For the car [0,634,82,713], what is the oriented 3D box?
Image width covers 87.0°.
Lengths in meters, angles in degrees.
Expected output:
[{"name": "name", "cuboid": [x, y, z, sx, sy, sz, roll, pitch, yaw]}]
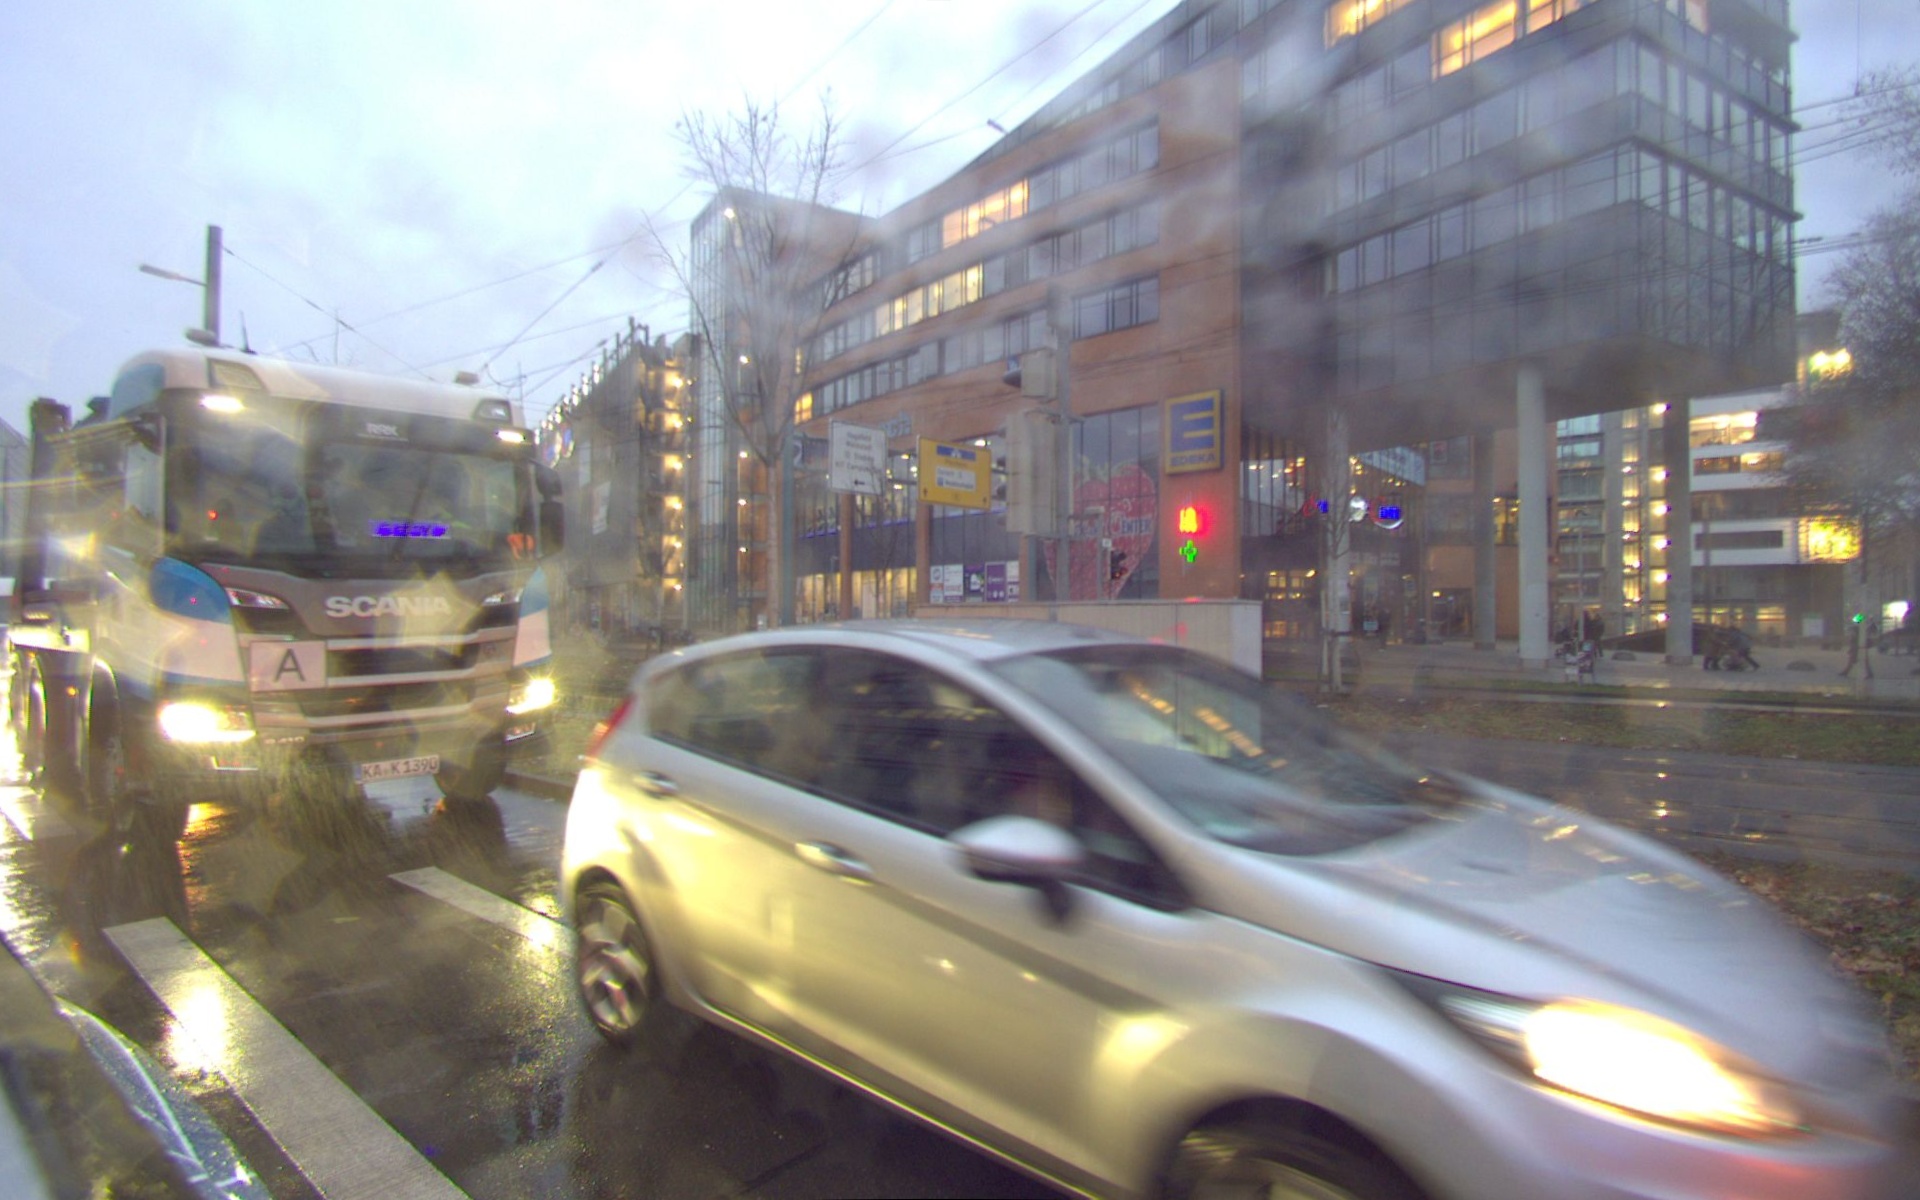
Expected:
[{"name": "car", "cuboid": [-18.104, 1.343, 19.246, 4.057, 1.355, 1.735, -1, -2, 43]}]

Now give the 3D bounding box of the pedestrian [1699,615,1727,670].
[{"name": "pedestrian", "cuboid": [25.193, 1.415, 33.859, 0.564, 1.787, 0.638, 2, -2, -43]}]

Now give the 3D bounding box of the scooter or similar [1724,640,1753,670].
[{"name": "scooter or similar", "cuboid": [25.640, 1.802, 33.350, 0.545, 0.968, 0.667, 2, -2, -43]}]

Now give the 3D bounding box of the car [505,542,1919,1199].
[{"name": "car", "cuboid": [0.323, 0.711, 3.074, 4.000, 1.459, 1.687, -2, -2, 43]}]

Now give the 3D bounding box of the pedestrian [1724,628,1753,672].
[{"name": "pedestrian", "cuboid": [26.230, 1.673, 34.089, 0.564, 1.470, 0.685, 2, -2, -43]}]

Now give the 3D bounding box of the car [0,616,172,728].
[{"name": "car", "cuboid": [-13.738, 1.063, 15.714, 3.939, 1.535, 1.613, -2, -3, 41]}]

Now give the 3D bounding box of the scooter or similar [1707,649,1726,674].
[{"name": "scooter or similar", "cuboid": [25.787, 2.093, 34.499, 0.545, 0.856, 0.433, 2, -2, -43]}]

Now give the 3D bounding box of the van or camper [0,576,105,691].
[{"name": "van or camper", "cuboid": [-23.180, 0.811, 25.037, 5.894, 2.551, 2.126, -1, -2, 40]}]

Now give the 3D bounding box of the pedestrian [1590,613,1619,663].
[{"name": "pedestrian", "cuboid": [24.473, 1.445, 38.436, 0.723, 1.878, 0.574, 1, -2, -14]}]

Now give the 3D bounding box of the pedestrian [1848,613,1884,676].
[{"name": "pedestrian", "cuboid": [27.330, 1.344, 30.536, 0.564, 1.878, 0.736, 2, -2, -43]}]

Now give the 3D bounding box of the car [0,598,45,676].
[{"name": "car", "cuboid": [-37.577, 1.437, 39.495, 5.811, 2.885, 2.101, -1, -2, 42]}]

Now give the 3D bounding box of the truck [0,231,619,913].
[{"name": "truck", "cuboid": [-6.328, -0.078, 8.947, 7.521, 3.661, 2.810, -1, -2, 40]}]

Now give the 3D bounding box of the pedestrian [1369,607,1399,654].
[{"name": "pedestrian", "cuboid": [16.092, 1.146, 38.408, 0.782, 1.766, 0.704, 0, -2, -1]}]

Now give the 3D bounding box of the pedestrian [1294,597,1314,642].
[{"name": "pedestrian", "cuboid": [13.765, 0.789, 40.518, 0.658, 1.766, 0.534, 0, -2, 12]}]

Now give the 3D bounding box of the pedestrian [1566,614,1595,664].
[{"name": "pedestrian", "cuboid": [23.431, 1.463, 38.216, 0.723, 1.878, 0.574, 1, -2, -13]}]
